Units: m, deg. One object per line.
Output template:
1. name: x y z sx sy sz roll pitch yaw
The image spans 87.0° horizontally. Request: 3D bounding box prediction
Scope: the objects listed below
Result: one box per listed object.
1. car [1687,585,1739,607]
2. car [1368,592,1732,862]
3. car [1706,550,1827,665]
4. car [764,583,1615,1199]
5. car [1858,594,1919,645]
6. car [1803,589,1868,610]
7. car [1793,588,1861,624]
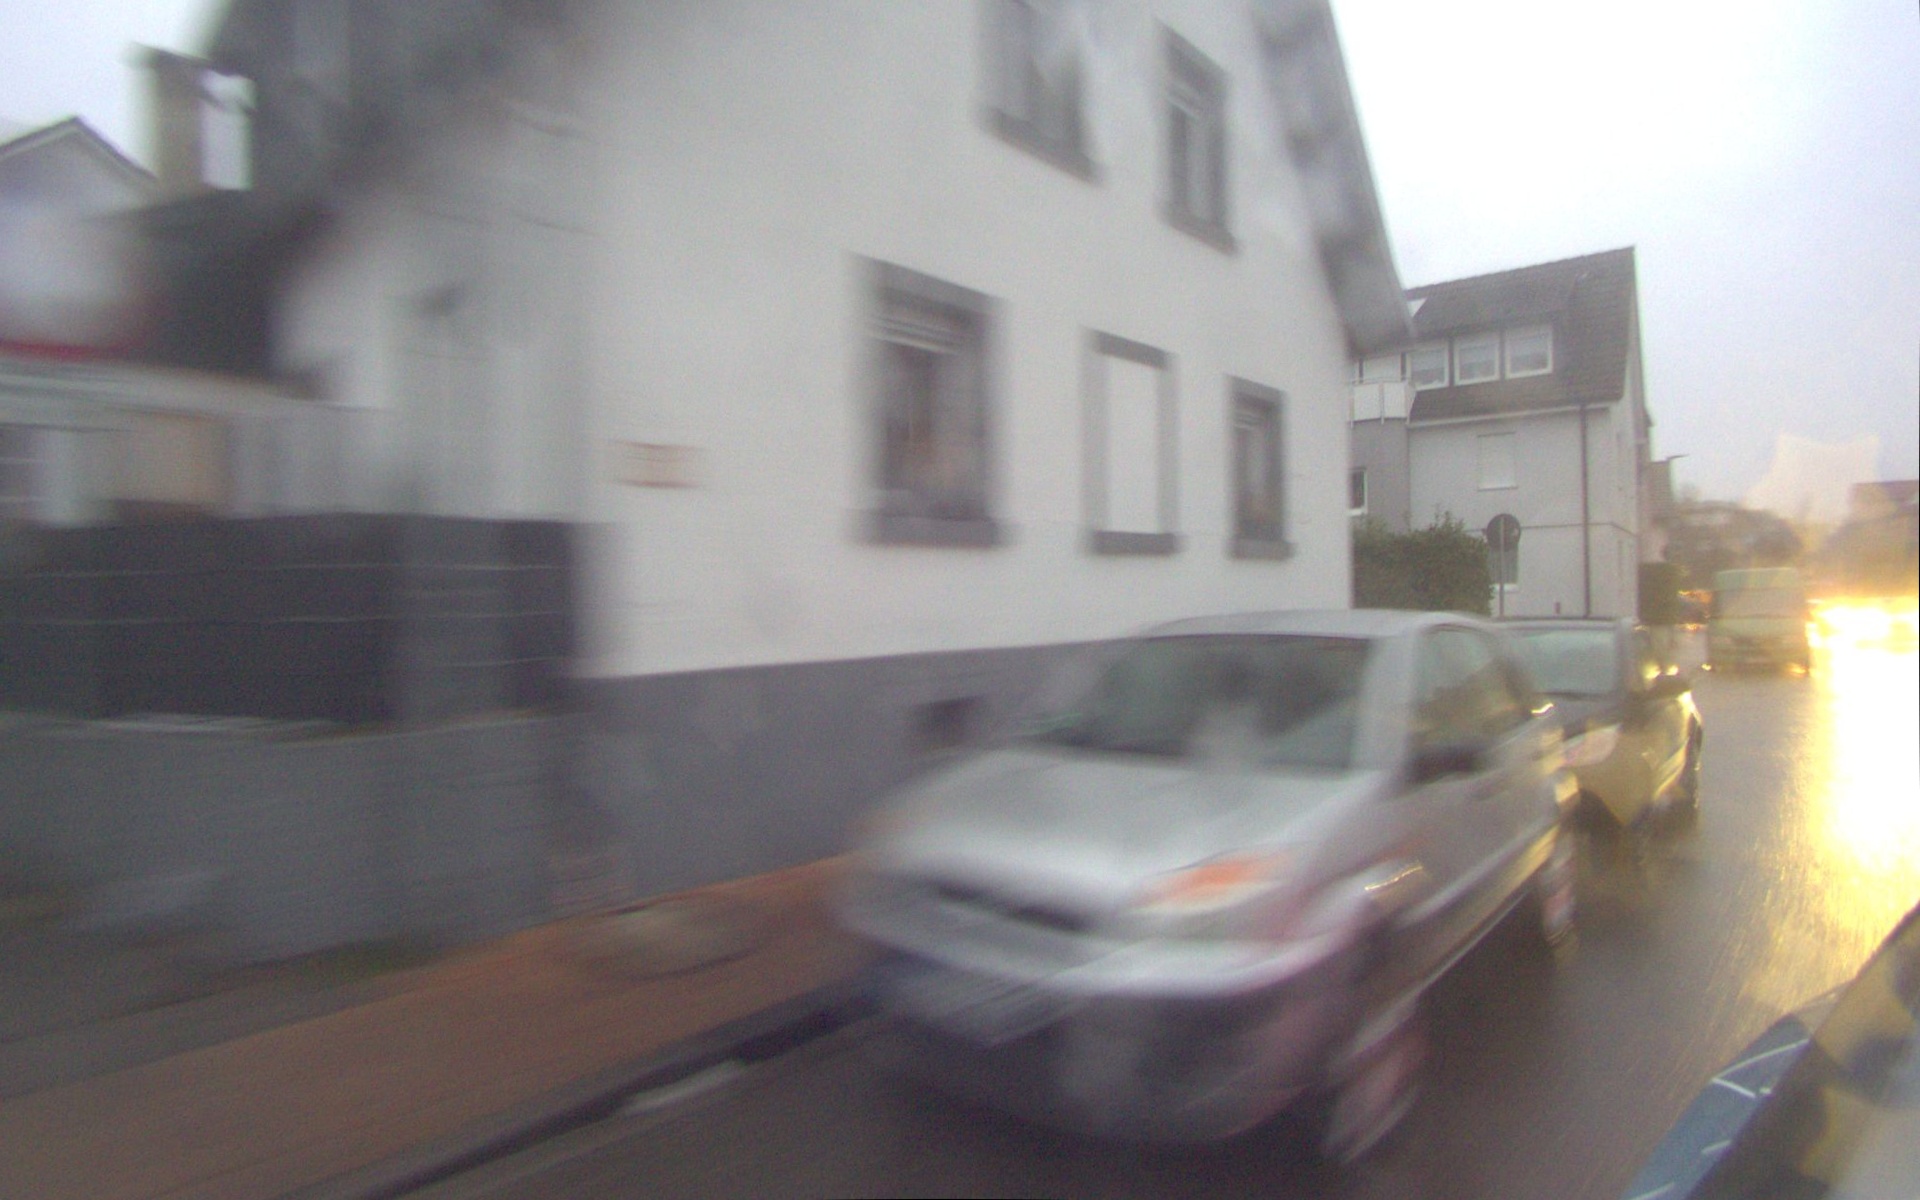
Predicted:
1. car: 69.654 -0.341 93.702 1.823 1.908 4.868 -2 -1 11
2. car: 4.625 0.730 7.649 1.636 1.490 3.941 -4 -2 41
3. car: 19.796 0.188 24.749 2.006 2.486 5.532 -4 -2 41
4. car: 1.310 0.749 4.061 1.636 1.513 3.941 -4 -2 41
5. car: 31.393 0.615 33.594 1.981 1.578 4.179 -2 -1 37
6. car: 74.594 -0.028 86.251 1.725 1.683 3.993 0 -2 -41
7. car: 40.497 0.283 47.375 1.980 1.578 4.181 -2 -1 36
